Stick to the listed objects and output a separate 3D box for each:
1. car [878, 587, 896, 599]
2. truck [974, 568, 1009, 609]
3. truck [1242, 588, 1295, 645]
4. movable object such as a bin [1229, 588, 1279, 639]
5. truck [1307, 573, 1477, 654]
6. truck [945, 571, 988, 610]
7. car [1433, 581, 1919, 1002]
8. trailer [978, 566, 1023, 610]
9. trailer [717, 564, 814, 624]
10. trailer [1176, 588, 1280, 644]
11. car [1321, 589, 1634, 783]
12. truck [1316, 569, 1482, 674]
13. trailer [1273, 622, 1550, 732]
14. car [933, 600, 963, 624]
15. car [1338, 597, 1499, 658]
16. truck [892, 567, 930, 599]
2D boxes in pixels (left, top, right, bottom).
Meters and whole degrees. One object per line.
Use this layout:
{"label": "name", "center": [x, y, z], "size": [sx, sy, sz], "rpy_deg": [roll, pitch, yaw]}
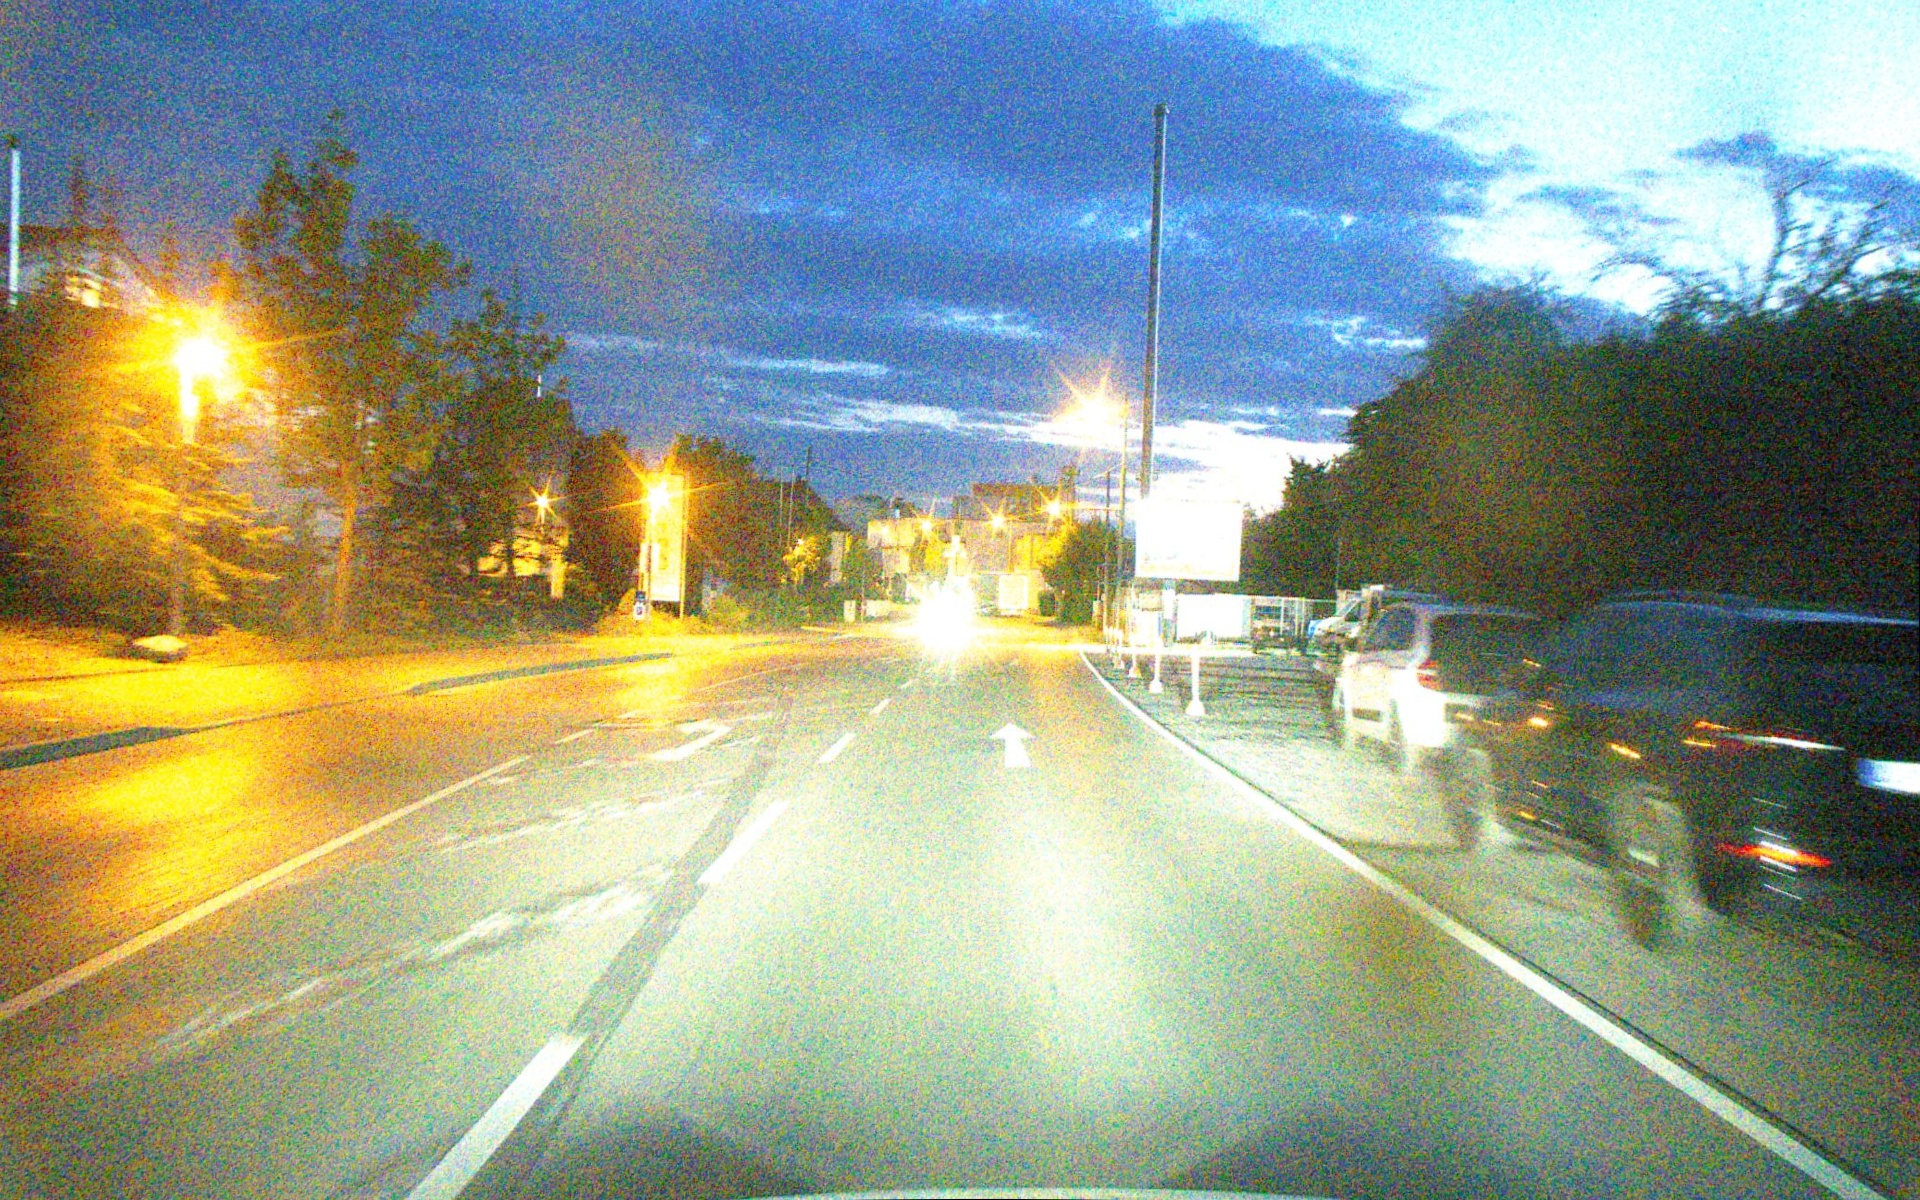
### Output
{"label": "car", "center": [-9.904, -0.990, 225.162], "size": [1.820, 1.545, 3.806], "rpy_deg": [0, 1, -13]}
{"label": "truck", "center": [3.160, -1.163, 165.986], "size": [2.775, 4.053, 6.043], "rpy_deg": [0, 1, -6]}
{"label": "truck", "center": [16.202, 0.850, 87.297], "size": [2.137, 2.796, 7.321], "rpy_deg": [3, 0, 7]}
{"label": "movable object such as a bin", "center": [16.755, 0.755, 94.410], "size": [2.181, 2.772, 3.866], "rpy_deg": [3, 0, 1]}
{"label": "truck", "center": [15.358, 0.473, 59.080], "size": [5.415, 2.645, 2.473], "rpy_deg": [2, 0, 2]}
{"label": "truck", "center": [0.608, -1.102, 177.347], "size": [2.779, 4.052, 10.317], "rpy_deg": [0, 1, -10]}
{"label": "car", "center": [4.049, 0.741, 8.521], "size": [1.953, 1.579, 4.326], "rpy_deg": [2, 1, 0]}
{"label": "trailer", "center": [3.855, -1.157, 160.022], "size": [2.754, 4.052, 13.960], "rpy_deg": [0, 1, -5]}
{"label": "trailer", "center": [-9.208, -0.294, 78.549], "size": [4.258, 2.767, 2.001], "rpy_deg": [0, 0, 2]}
{"label": "trailer", "center": [10.358, 0.590, 63.857], "size": [3.671, 2.049, 1.614], "rpy_deg": [1, 1, 23]}
{"label": "car", "center": [4.865, 0.725, 16.163], "size": [1.894, 1.579, 4.001], "rpy_deg": [2, 0, 2]}
{"label": "truck", "center": [10.929, 0.503, 41.934], "size": [2.328, 2.323, 7.746], "rpy_deg": [2, 0, 2]}
{"label": "trailer", "center": [6.296, 0.984, 24.554], "size": [2.128, 0.983, 9.621], "rpy_deg": [4, 1, 4]}
{"label": "car", "center": [-0.841, 0.867, 120.535], "size": [1.952, 1.655, 4.754], "rpy_deg": [2, 0, 2]}
{"label": "car", "center": [15.580, 0.926, 56.409], "size": [4.966, 1.868, 1.990], "rpy_deg": [2, 0, 5]}
{"label": "truck", "center": [-6.293, -2.170, 210.114], "size": [3.456, 4.052, 10.320], "rpy_deg": [0, 1, -9]}
